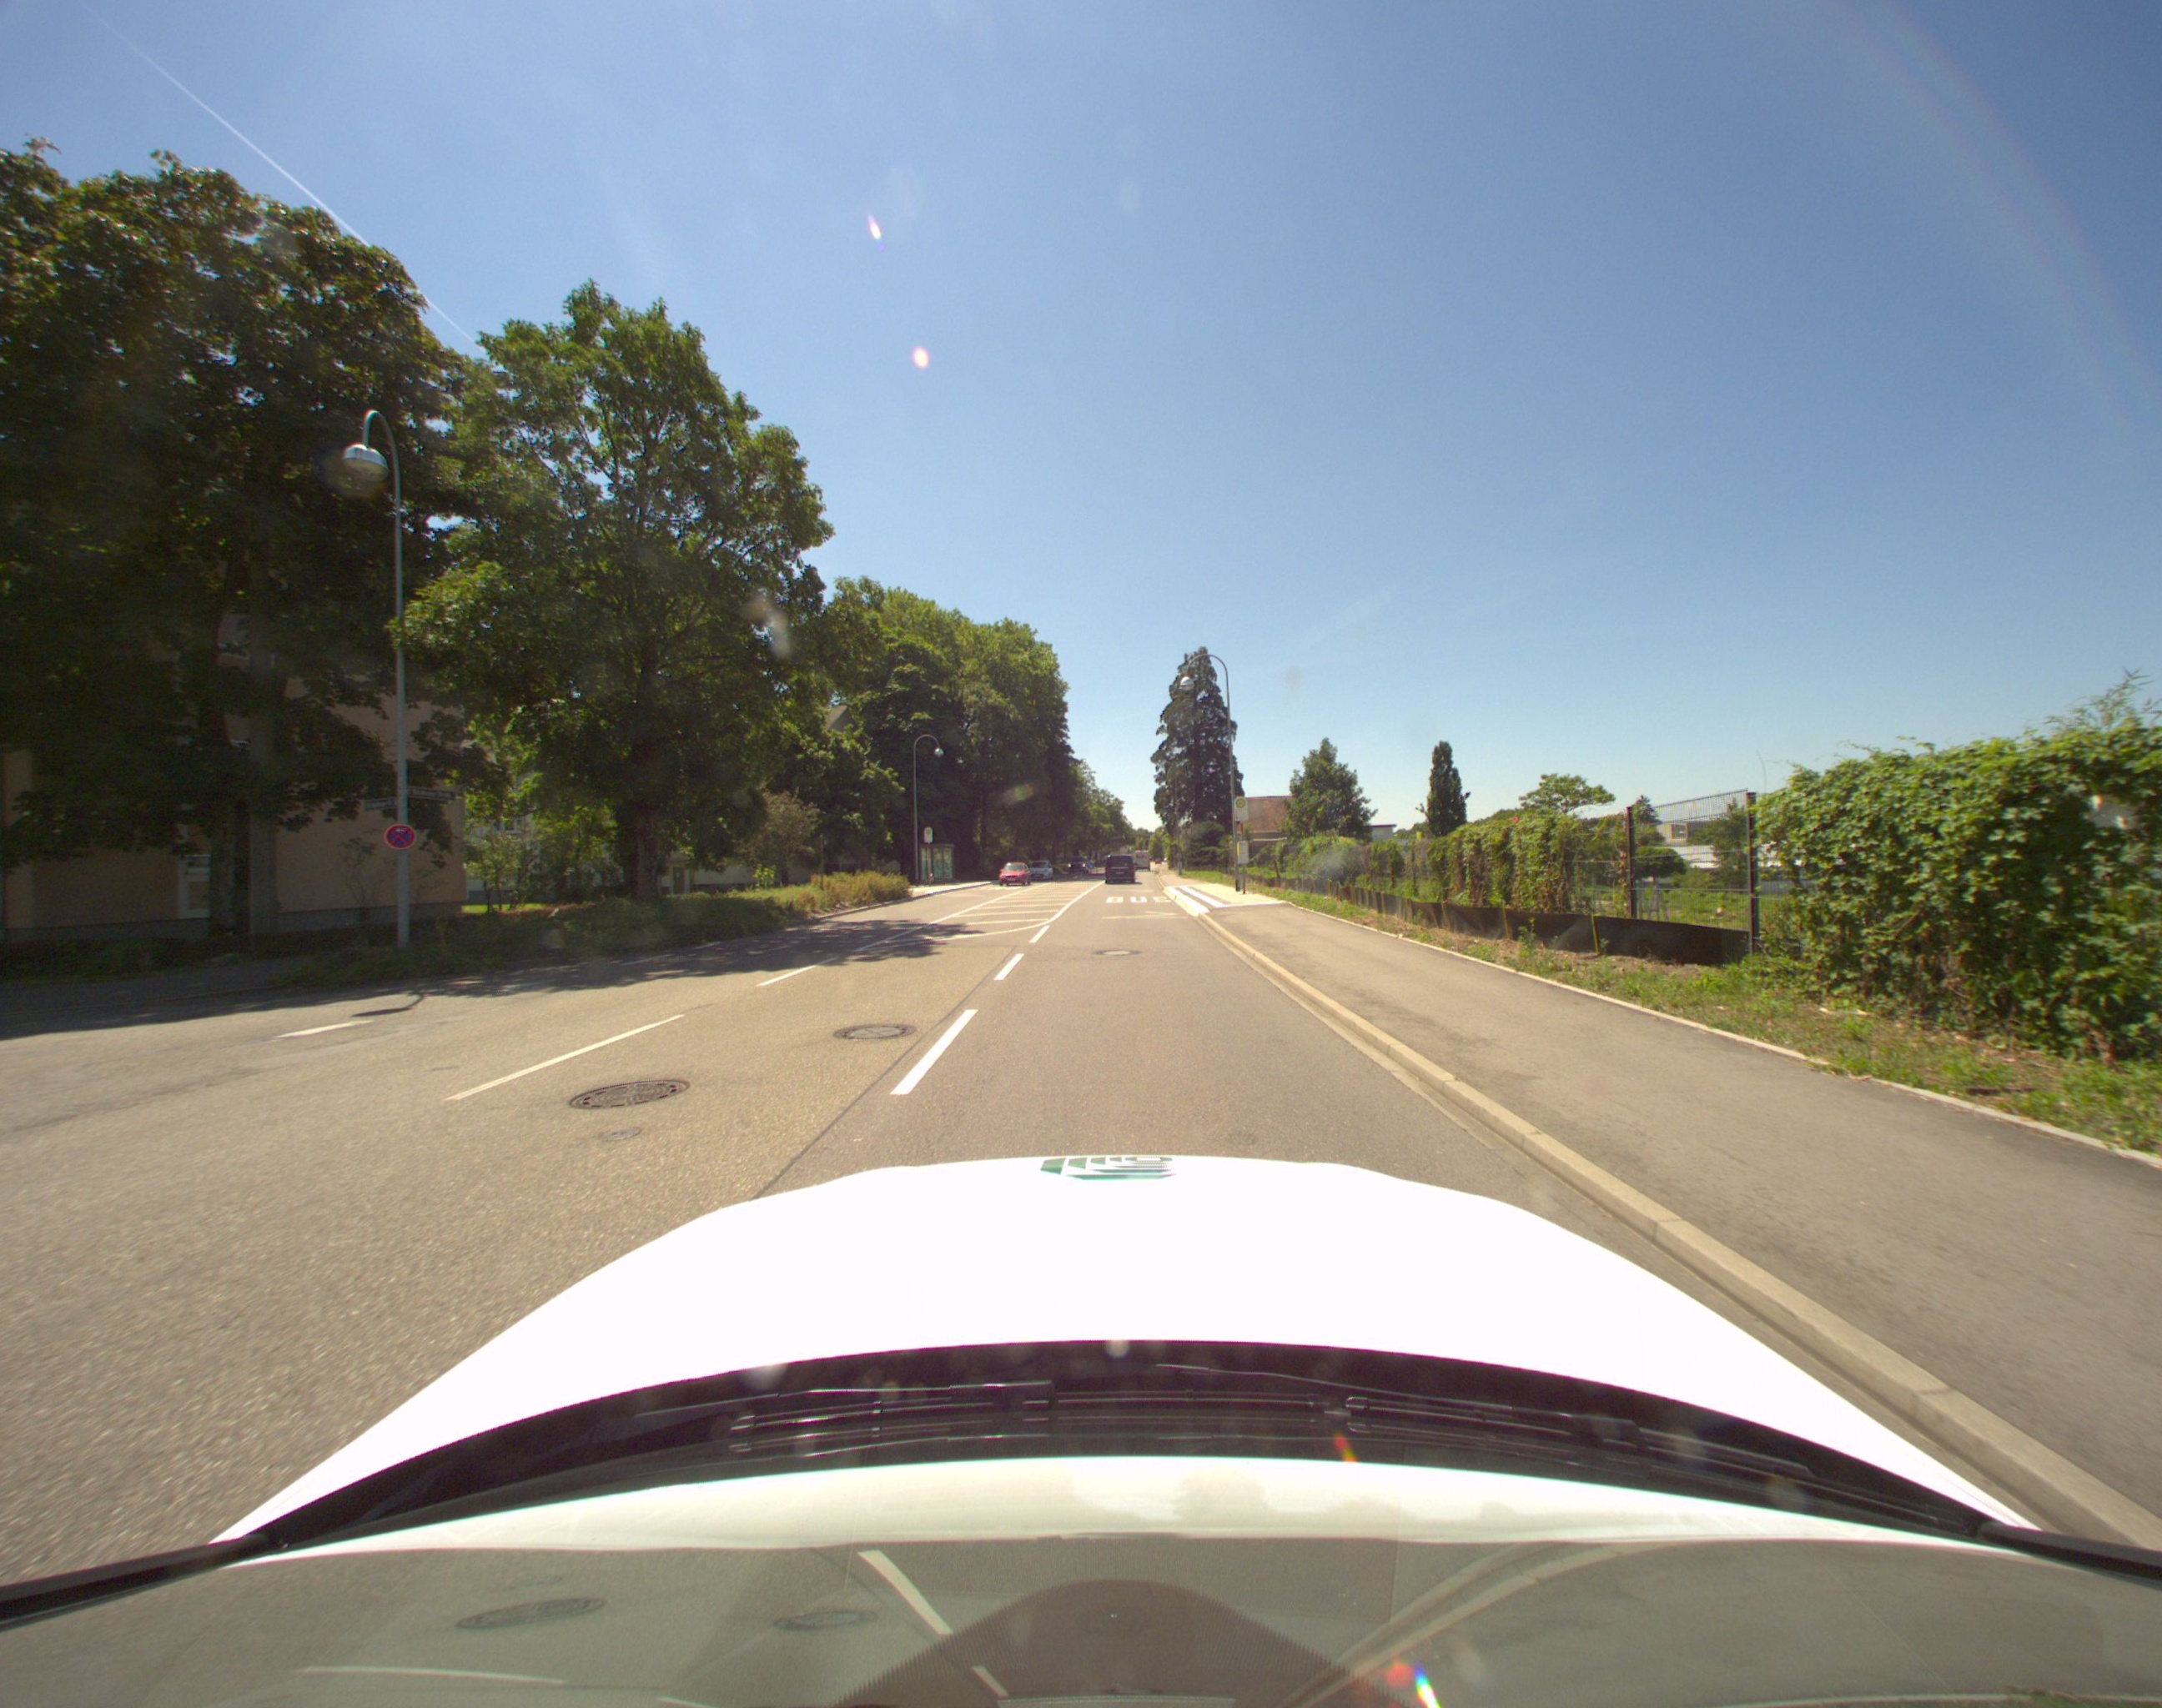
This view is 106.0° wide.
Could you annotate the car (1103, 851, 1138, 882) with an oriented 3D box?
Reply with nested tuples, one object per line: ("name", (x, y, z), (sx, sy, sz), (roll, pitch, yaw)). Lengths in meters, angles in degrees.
("car", (2.455, 0.771, 51.719), (1.988, 1.893, 3.998), (0, 0, -1))

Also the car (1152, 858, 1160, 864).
("car", (20.747, 1.909, 226.178), (1.850, 1.643, 4.002), (0, 0, 2))

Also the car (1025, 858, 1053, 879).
("car", (-3.132, 1.081, 60.824), (1.683, 1.460, 3.643), (0, 0, 3))

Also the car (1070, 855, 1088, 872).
("car", (-0.257, 1.034, 92.465), (1.987, 1.910, 4.989), (-1, 0, 0))

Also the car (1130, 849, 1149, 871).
("car", (7.506, 0.771, 104.640), (2.113, 2.677, 5.662), (0, 0, 1))

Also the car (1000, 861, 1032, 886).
("car", (-4.030, 1.192, 50.855), (1.544, 1.450, 3.693), (0, -1, 3))
